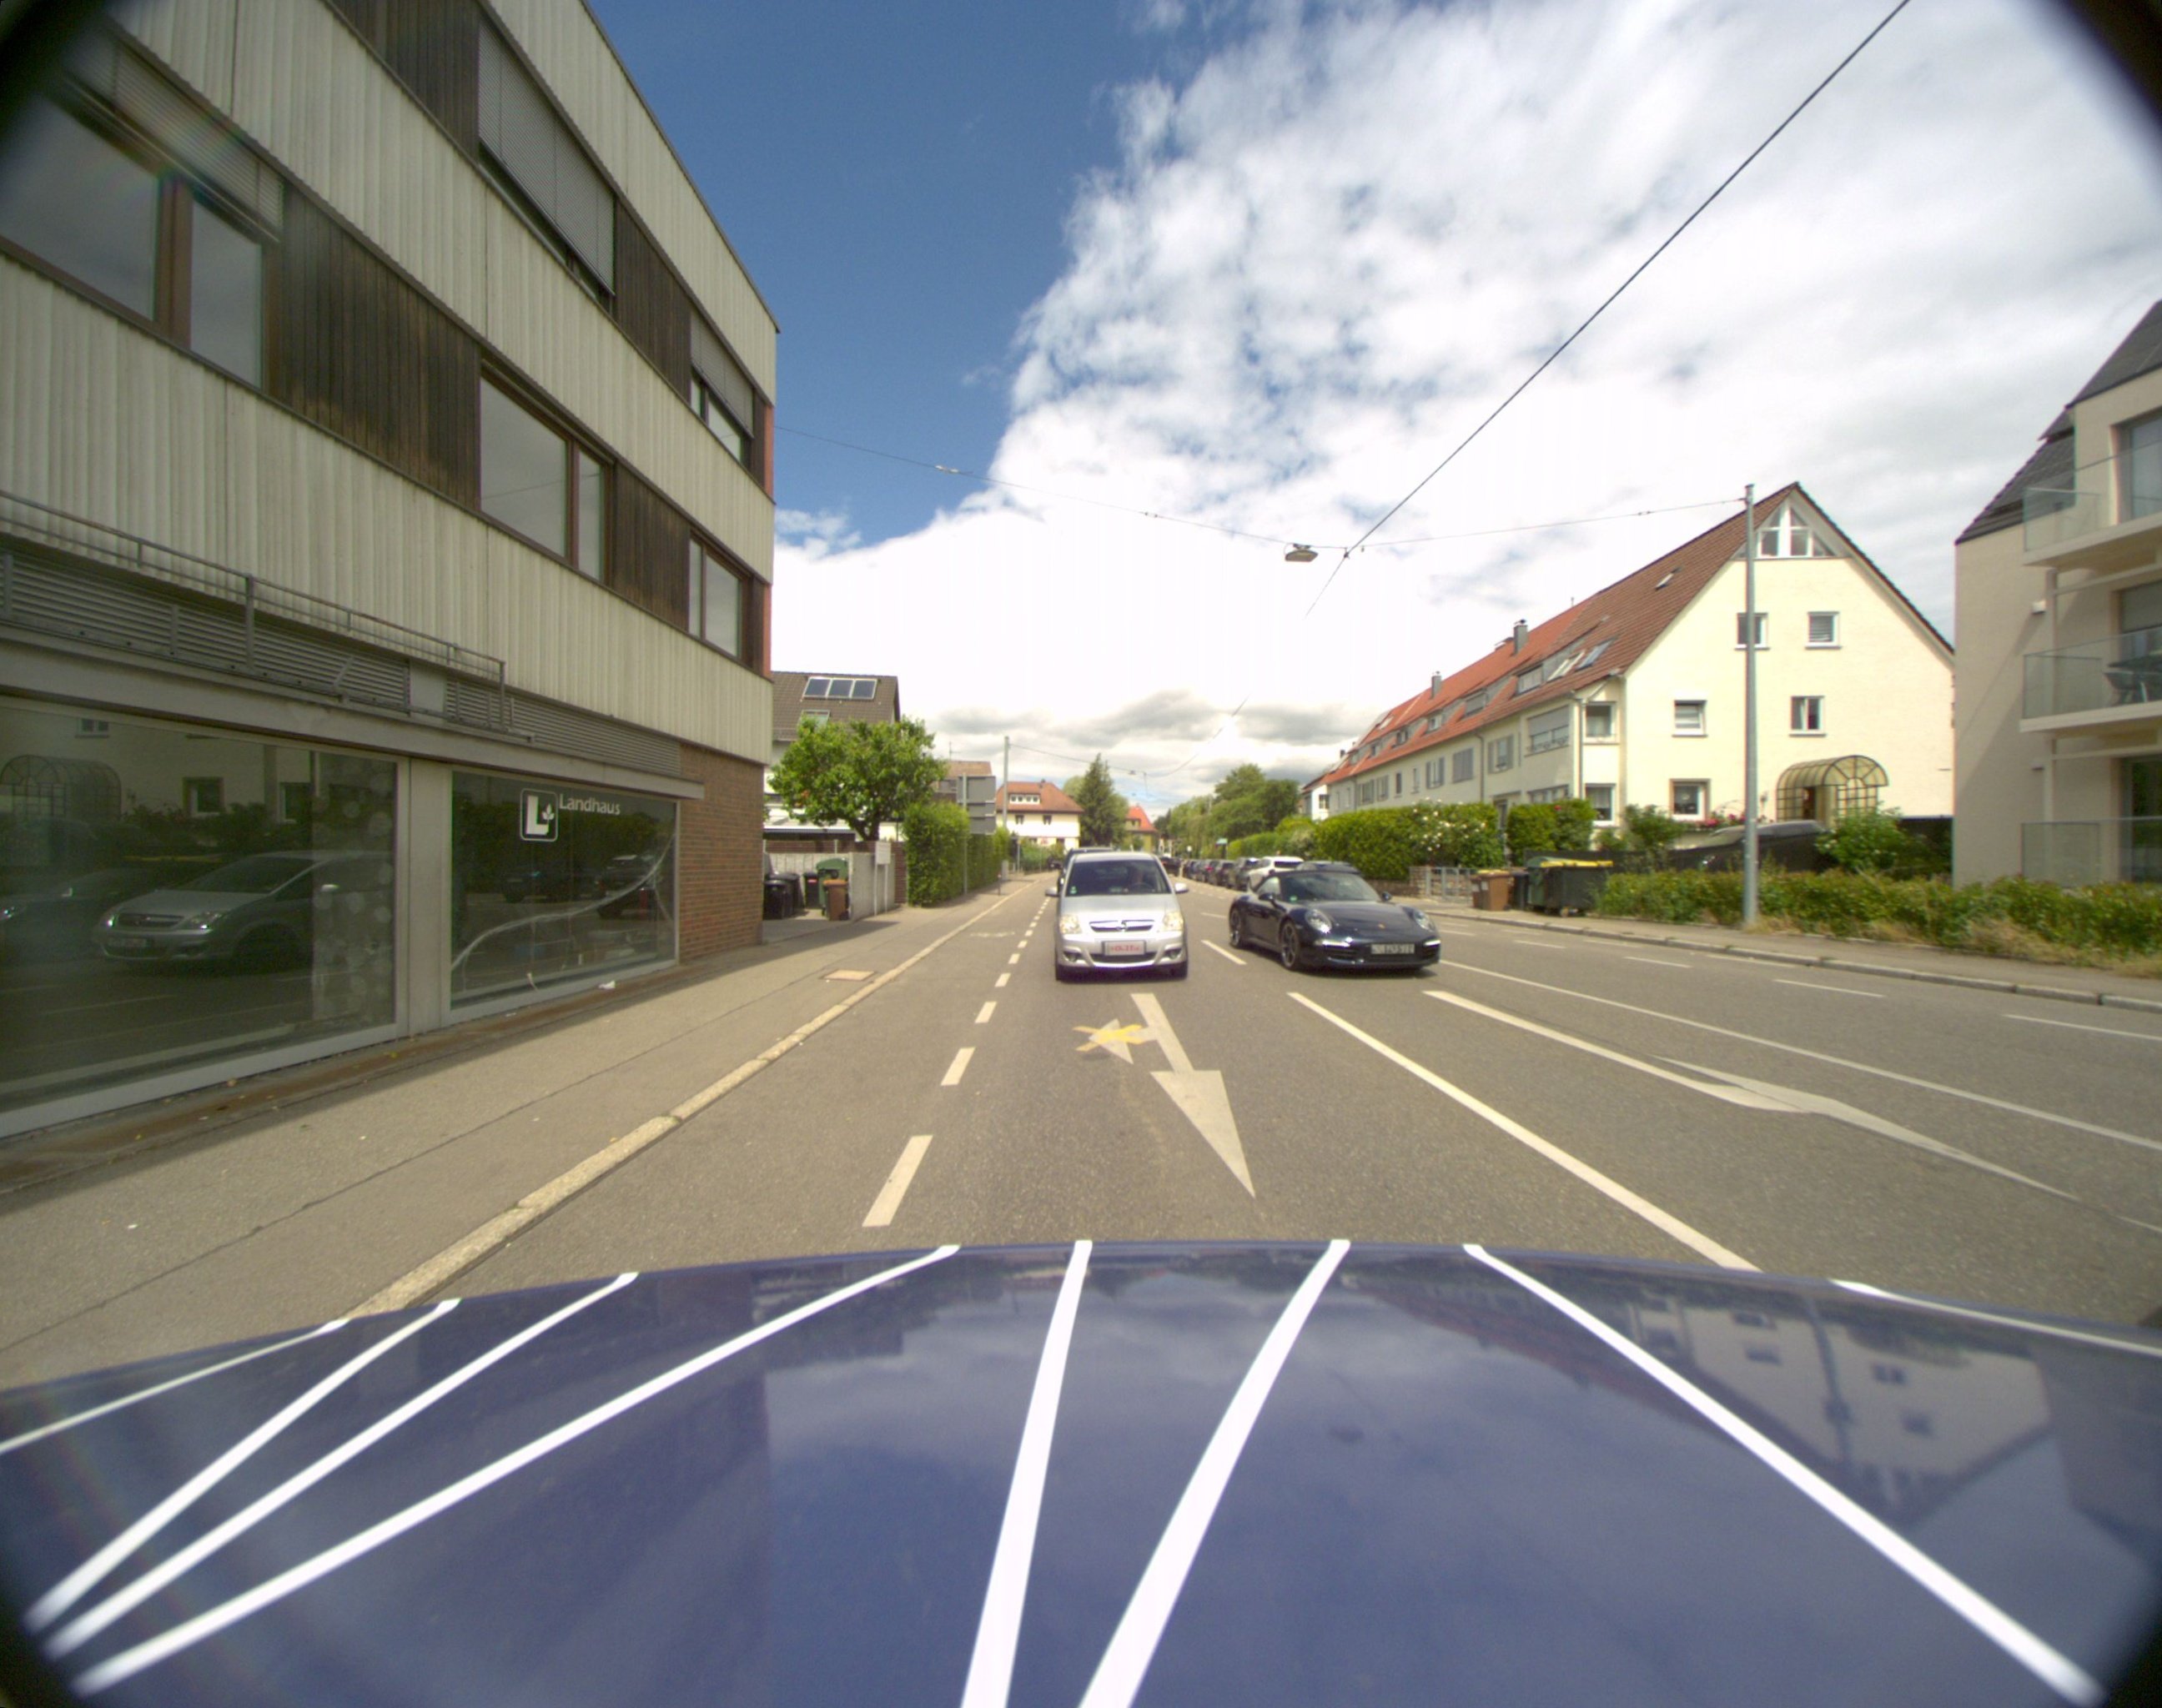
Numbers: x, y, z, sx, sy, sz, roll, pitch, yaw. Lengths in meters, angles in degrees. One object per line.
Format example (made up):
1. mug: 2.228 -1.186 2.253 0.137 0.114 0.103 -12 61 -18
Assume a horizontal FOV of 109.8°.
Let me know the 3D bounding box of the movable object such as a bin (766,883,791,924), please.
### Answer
1. movable object such as a bin: -7.096 1.160 17.833 0.519 0.916 0.478 -1 1 -24

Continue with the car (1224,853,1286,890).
1. car: 8.371 0.800 36.932 1.999 1.623 4.236 0 0 0

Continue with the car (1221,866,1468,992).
1. car: 3.437 0.895 10.826 1.815 1.356 4.042 -1 0 -5

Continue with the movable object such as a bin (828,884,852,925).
1. movable object such as a bin: -5.611 1.162 17.706 0.519 0.916 0.478 -1 1 -18

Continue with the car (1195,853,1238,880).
1. car: 8.518 0.755 48.110 1.999 1.623 4.236 0 0 0

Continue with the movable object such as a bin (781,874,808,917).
1. movable object such as a bin: -7.361 1.062 19.523 0.597 1.069 0.488 -1 1 -24

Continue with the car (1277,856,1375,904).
1. car: 8.458 0.841 26.667 1.819 1.492 4.452 0 0 -3

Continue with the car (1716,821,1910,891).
1. car: 22.199 0.063 23.177 3.997 2.002 2.000 -1 1 0

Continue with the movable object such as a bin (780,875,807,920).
1. movable object such as a bin: -7.190 1.078 18.987 0.597 1.069 0.488 -1 1 -24

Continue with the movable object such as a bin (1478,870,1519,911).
1. movable object such as a bin: 11.139 0.975 20.302 0.763 1.059 0.693 -1 1 7

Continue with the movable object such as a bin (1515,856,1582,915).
1. movable object such as a bin: 11.813 0.782 19.214 1.092 1.438 0.980 -1 1 0

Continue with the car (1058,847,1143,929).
1. car: 0.366 0.753 19.796 1.887 1.838 5.219 -1 0 -2

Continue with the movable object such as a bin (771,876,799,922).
1. movable object such as a bin: -7.149 1.079 18.368 0.597 1.069 0.488 -1 1 -24

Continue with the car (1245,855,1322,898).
1. car: 8.307 0.857 31.631 1.999 1.623 4.453 0 0 0

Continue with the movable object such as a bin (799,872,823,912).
1. movable object such as a bin: -7.451 1.030 20.960 0.596 1.069 0.488 -1 1 -19

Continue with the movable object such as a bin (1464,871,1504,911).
1. movable object such as a bin: 11.147 1.011 21.041 0.763 1.059 0.693 -1 1 7

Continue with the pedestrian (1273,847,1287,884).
1. pedestrian: 9.961 0.571 38.127 0.533 1.805 0.511 -1 1 -5

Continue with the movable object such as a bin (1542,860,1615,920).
1. movable object such as a bin: 11.751 0.835 17.982 1.092 1.354 0.980 -1 1 0

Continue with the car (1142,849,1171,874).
1. car: 5.971 0.537 60.553 1.998 1.903 4.069 -1 0 2

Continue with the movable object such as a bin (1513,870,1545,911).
1. movable object such as a bin: 11.874 0.956 20.145 0.658 1.059 0.522 -1 1 -39

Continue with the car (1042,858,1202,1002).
1. car: 0.453 0.860 10.484 1.774 1.566 4.001 -1 0 0

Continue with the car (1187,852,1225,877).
1. car: 8.751 0.696 53.570 1.999 1.623 4.236 0 0 0

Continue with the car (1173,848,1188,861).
1. car: 14.330 0.060 109.247 1.997 1.903 4.072 0 0 10

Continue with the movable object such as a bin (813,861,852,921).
1. movable object such as a bin: -6.089 0.890 18.626 0.809 1.446 0.479 -1 1 -4

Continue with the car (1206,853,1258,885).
1. car: 8.355 0.790 42.466 1.999 1.623 4.236 1 0 0
